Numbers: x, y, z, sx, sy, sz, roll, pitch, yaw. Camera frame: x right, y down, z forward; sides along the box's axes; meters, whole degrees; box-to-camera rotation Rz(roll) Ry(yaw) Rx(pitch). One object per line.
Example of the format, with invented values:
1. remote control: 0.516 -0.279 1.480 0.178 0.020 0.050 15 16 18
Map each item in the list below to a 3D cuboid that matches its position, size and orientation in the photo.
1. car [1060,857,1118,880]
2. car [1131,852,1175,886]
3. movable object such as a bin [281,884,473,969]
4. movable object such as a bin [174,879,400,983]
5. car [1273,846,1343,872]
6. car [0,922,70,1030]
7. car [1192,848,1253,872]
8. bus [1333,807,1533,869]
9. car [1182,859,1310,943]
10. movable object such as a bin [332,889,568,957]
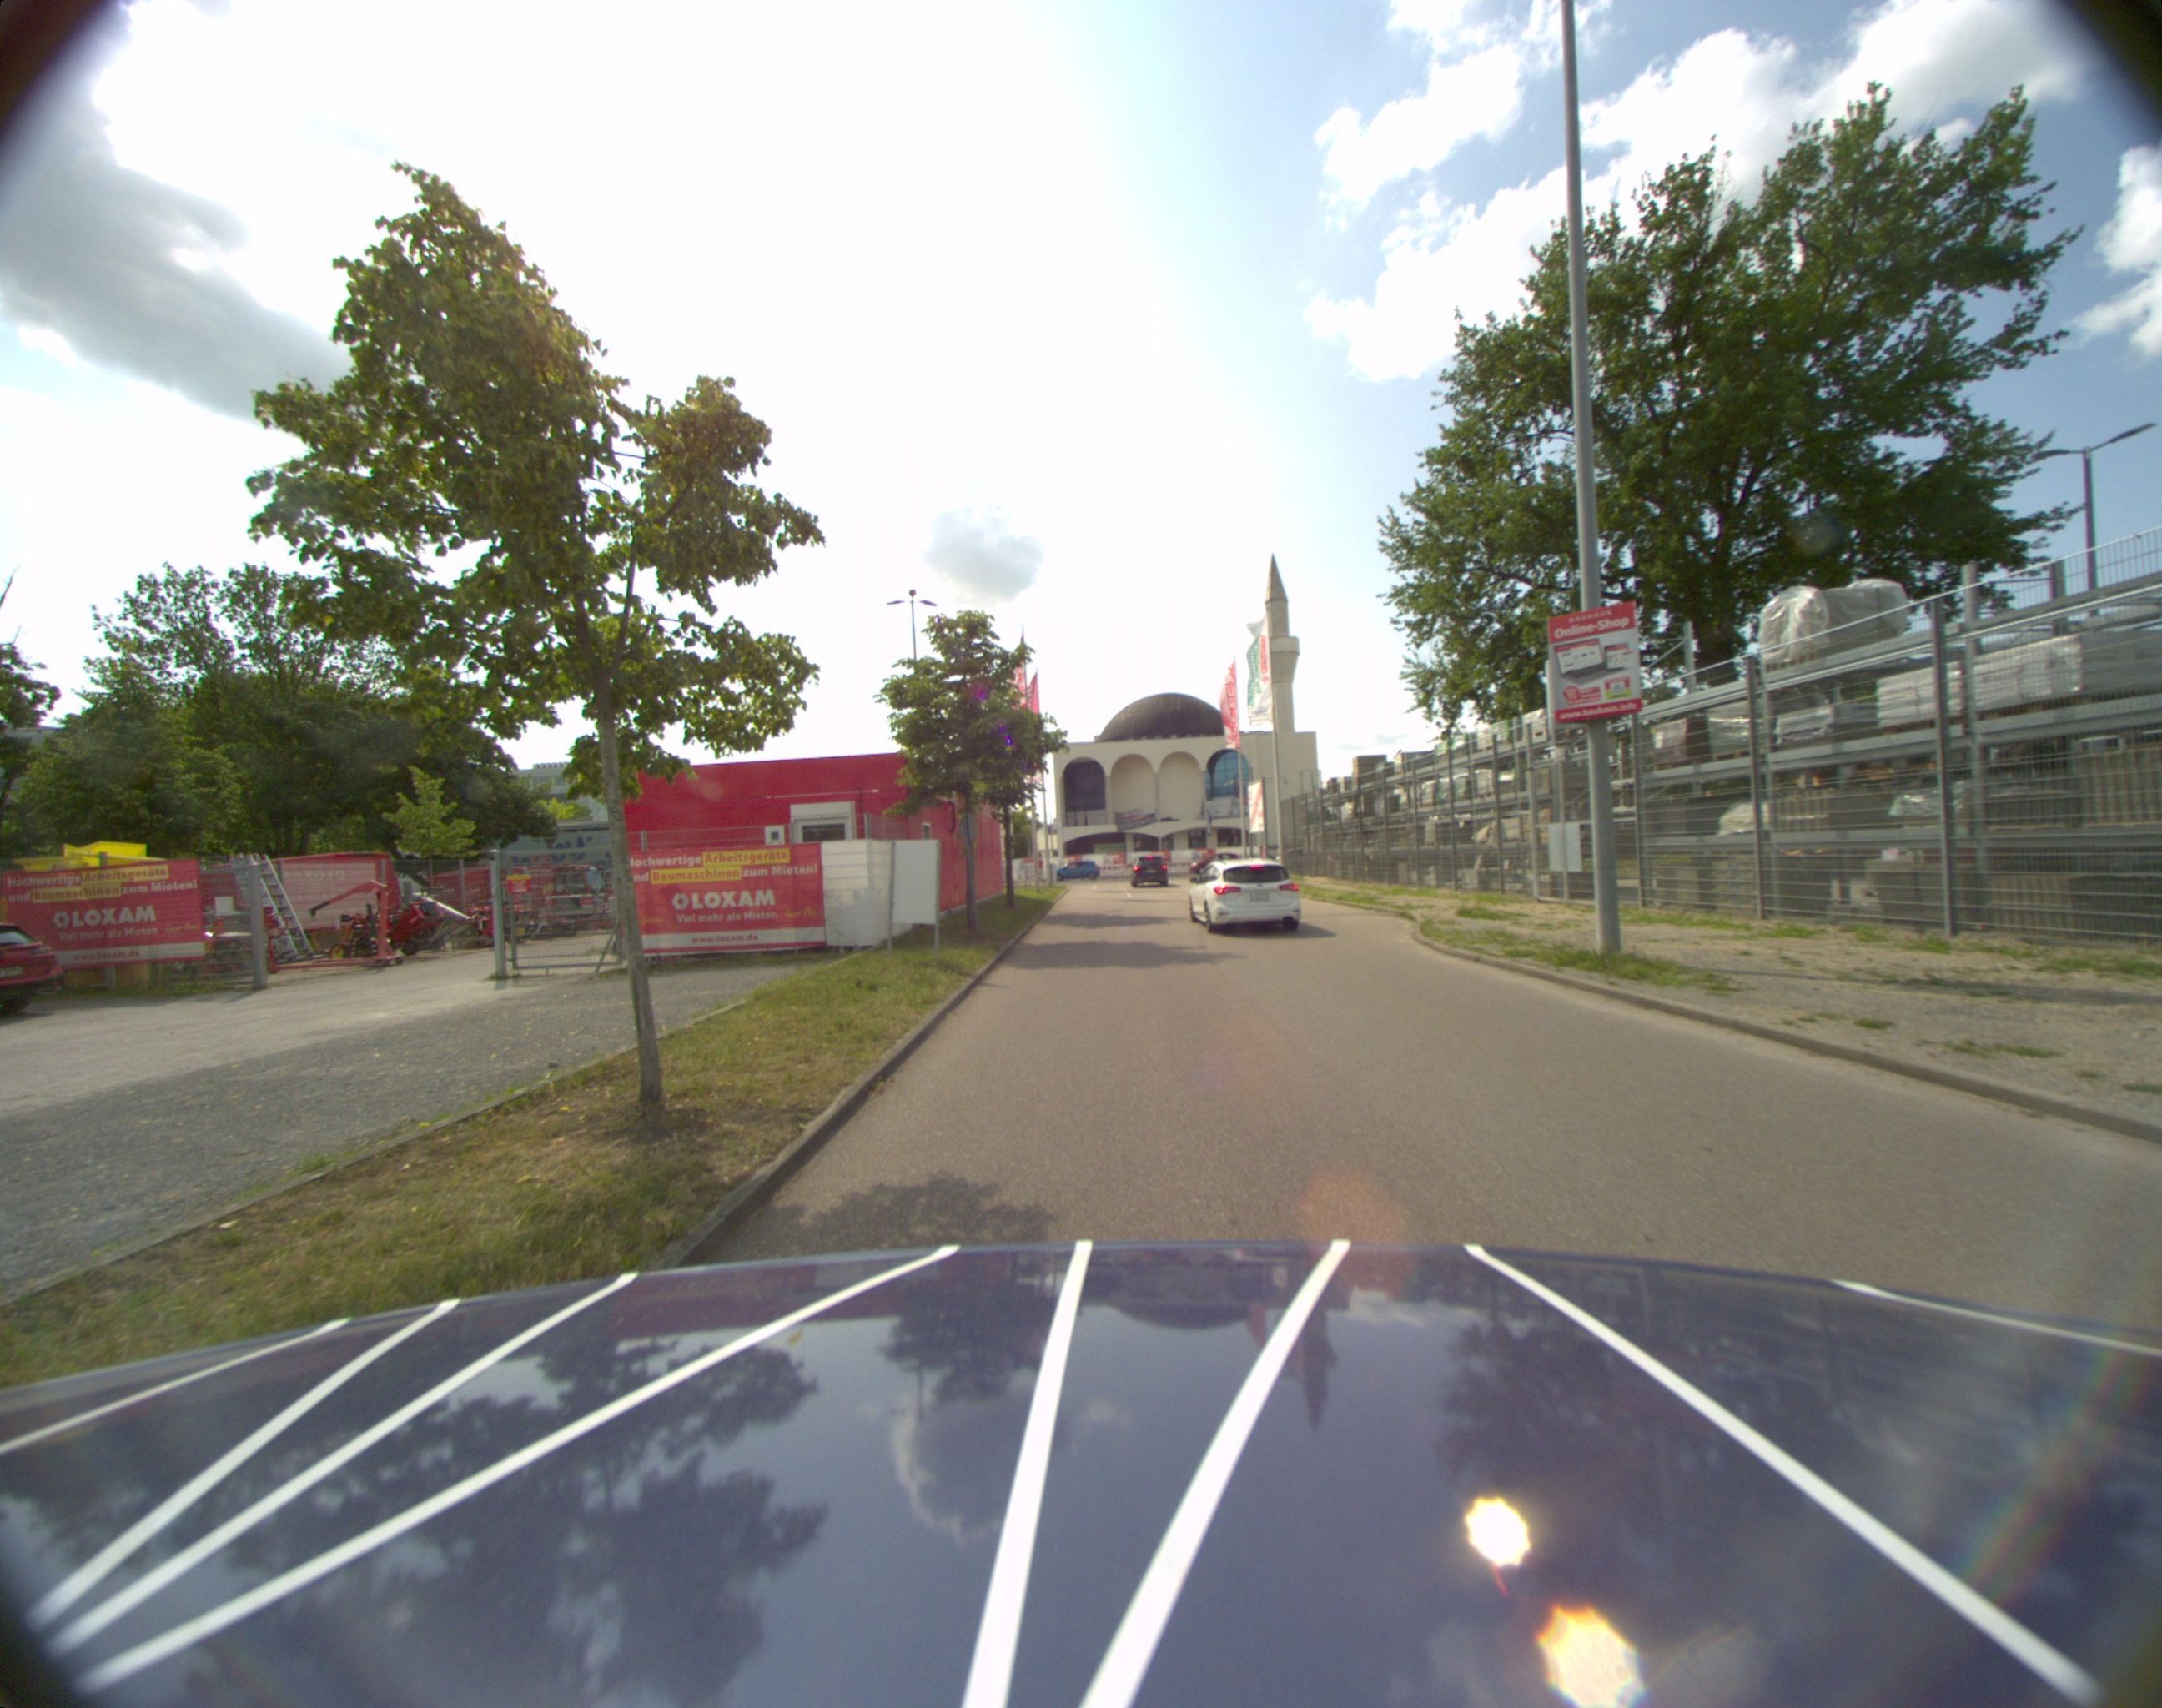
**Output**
1. car: 0.612 1.086 56.561 4.192 1.505 1.697 -3 0 2
2. car: 3.758 0.790 40.430 1.920 1.608 4.374 -2 -1 0
3. movable object such as a bin: -15.845 1.608 17.186 3.010 1.660 1.389 -3 0 1
4. movable object such as a bin: -15.760 1.492 15.170 3.010 1.833 1.389 -3 0 1
5. car: 15.715 0.350 52.711 4.207 1.555 1.723 -3 0 -2
6. car: -16.791 1.764 10.122 4.144 1.406 1.617 -2 0 -4
7. car: 10.487 0.456 56.382 4.189 1.500 1.792 -3 0 2
8. bus: 22.796 -1.014 49.685 11.558 3.344 2.893 -3 0 2
9. car: 3.351 0.891 16.313 1.808 1.456 4.329 -3 0 1
10. movable object such as a bin: -16.407 1.765 20.010 3.583 1.370 3.084 -2 1 5
